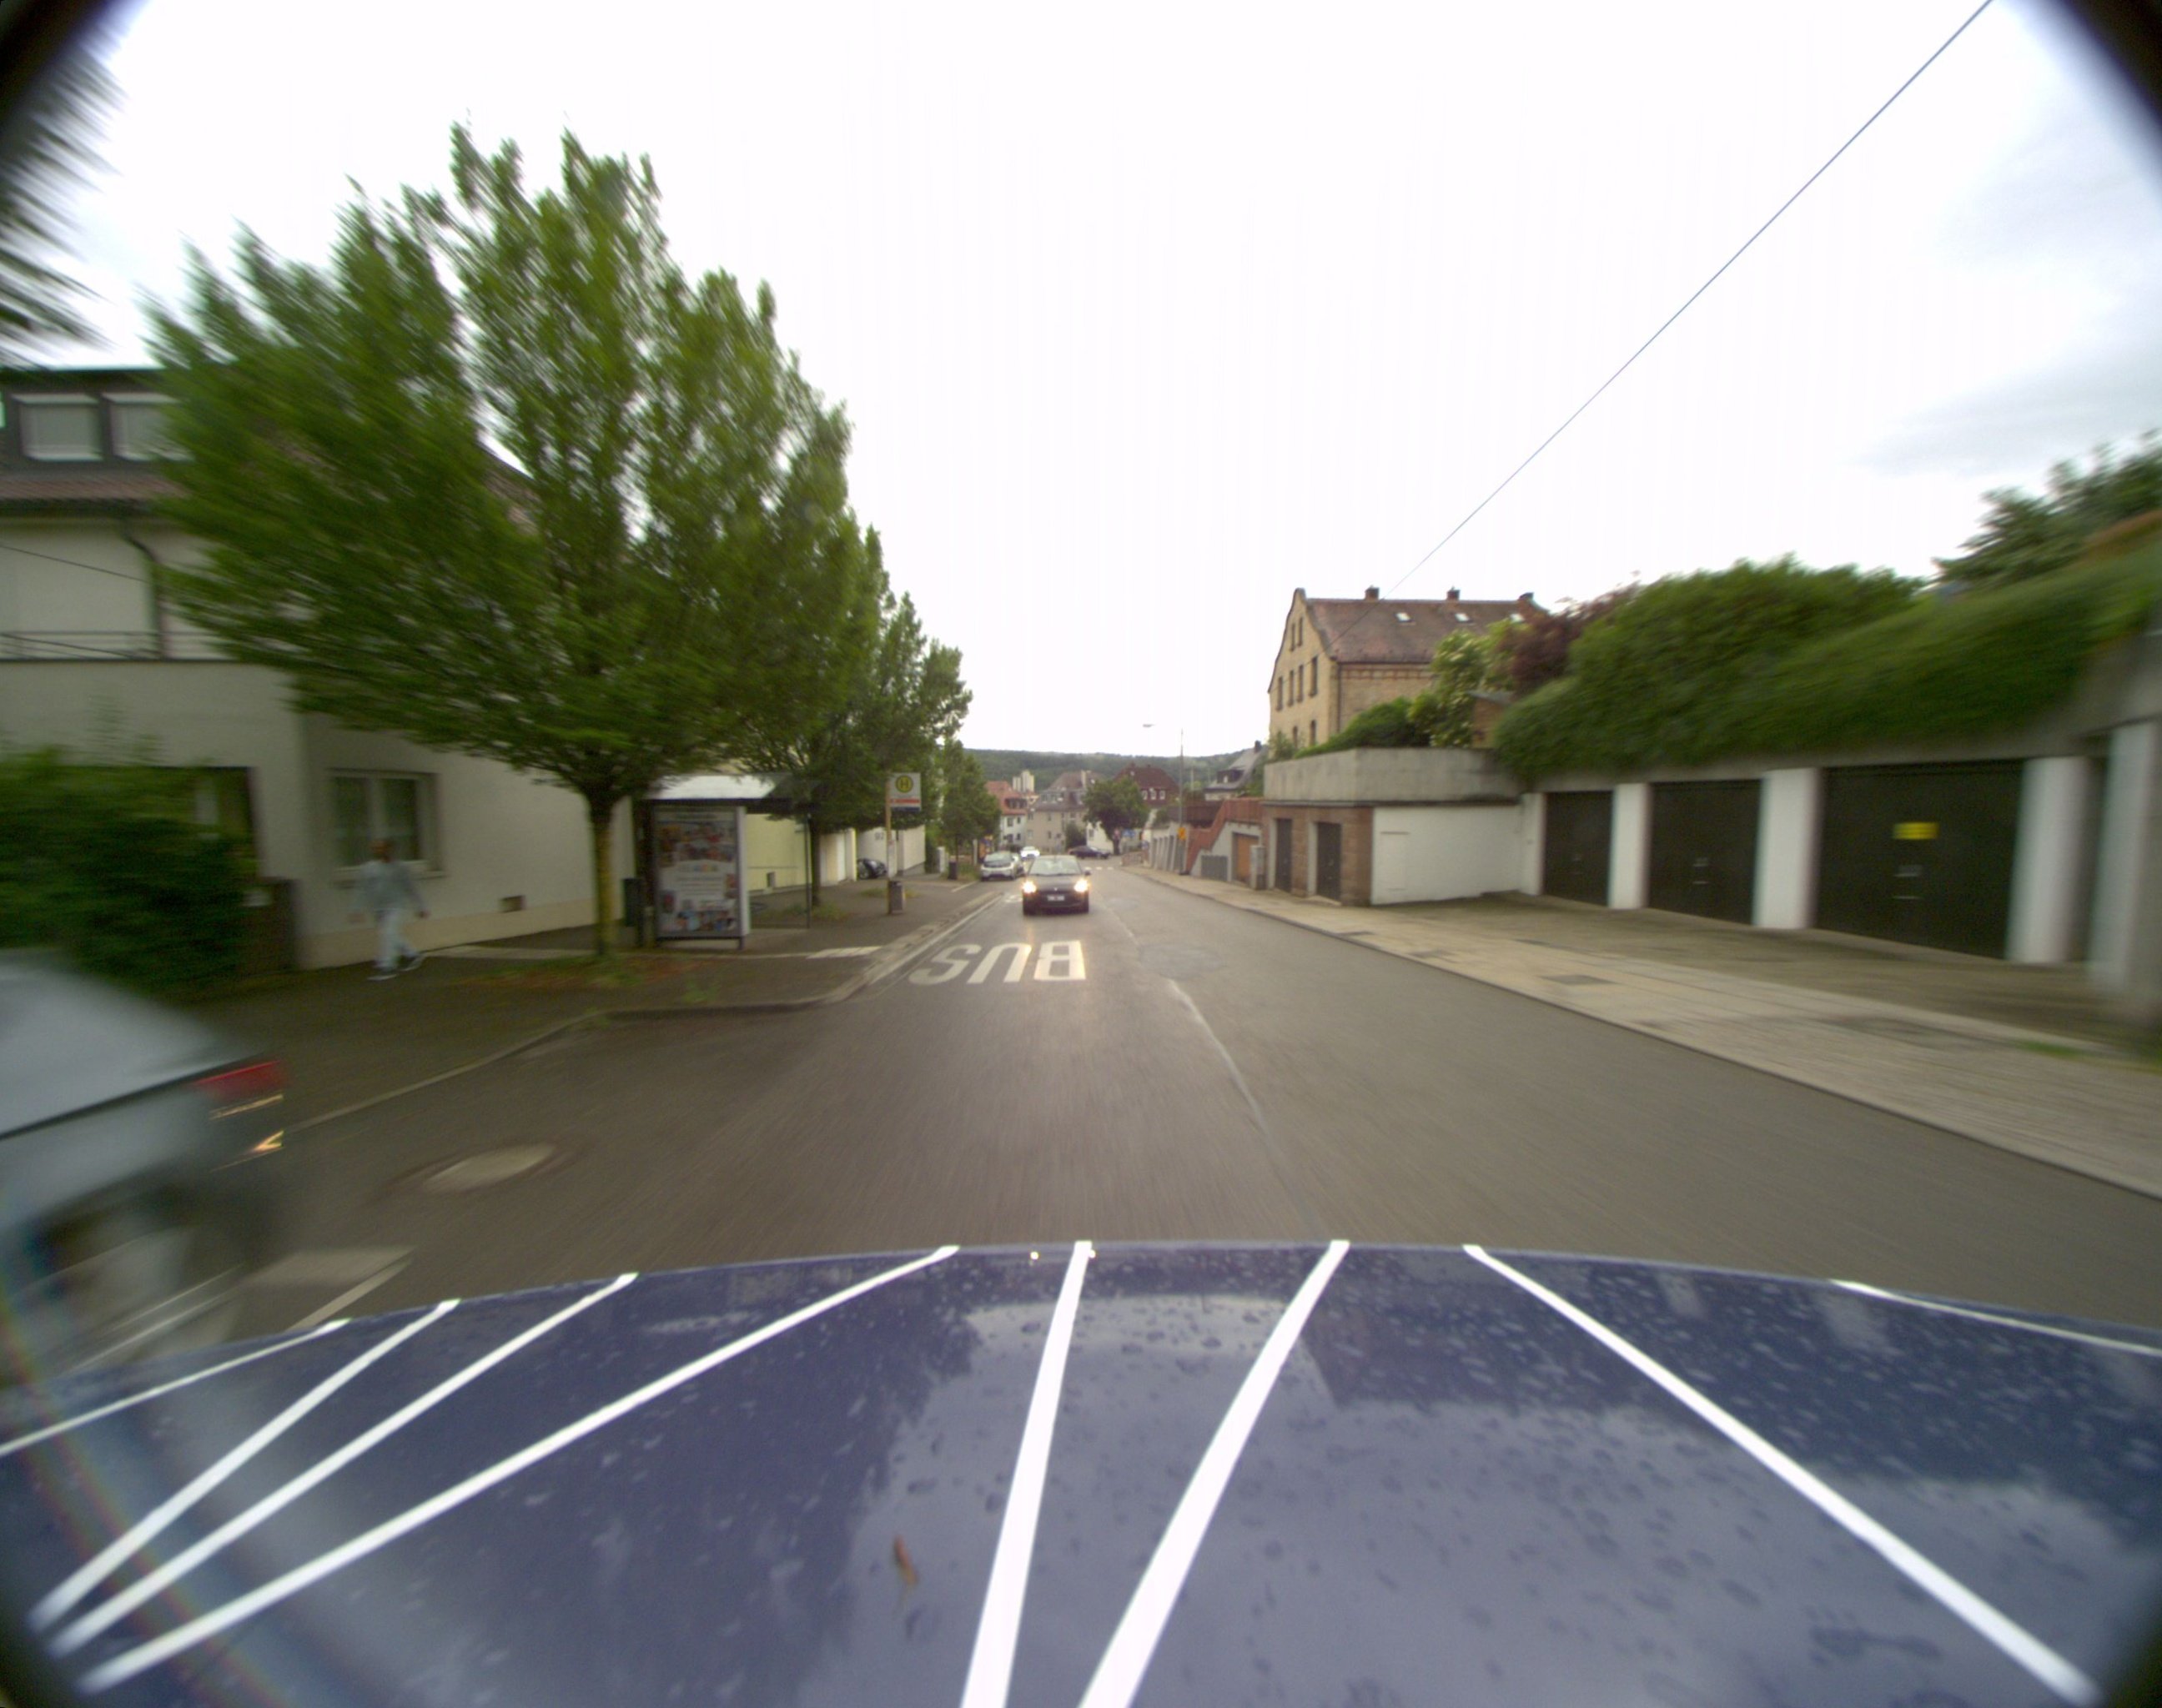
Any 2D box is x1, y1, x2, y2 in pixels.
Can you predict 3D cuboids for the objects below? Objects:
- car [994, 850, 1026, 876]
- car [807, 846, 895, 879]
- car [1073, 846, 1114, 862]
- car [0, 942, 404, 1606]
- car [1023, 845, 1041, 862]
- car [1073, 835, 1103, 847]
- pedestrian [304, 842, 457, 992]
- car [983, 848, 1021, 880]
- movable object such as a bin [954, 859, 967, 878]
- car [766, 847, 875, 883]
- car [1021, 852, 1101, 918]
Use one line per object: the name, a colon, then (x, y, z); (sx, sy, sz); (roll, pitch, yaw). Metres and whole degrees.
car: (-4.318, 0.504, 46.967); (1.784, 1.430, 4.879); (-2, 1, -4)
car: (-11.255, 0.390, 37.321); (3.710, 1.498, 1.782); (-1, 1, 0)
car: (1.370, 0.005, 82.545); (3.990, 1.576, 1.861); (-1, 1, 25)
car: (-3.494, 1.069, 0.536); (1.883, 1.408, 4.467); (-2, 1, 2)
car: (-5.792, -0.118, 89.864); (2.016, 1.892, 4.092); (-1, 1, -5)
car: (1.101, -2.062, 119.390); (4.227, 1.663, 1.874); (-2, 1, -23)
pedestrian: (-8.352, 0.712, 9.114); (0.834, 1.676, 1.044); (2, 1, 1)
car: (-4.277, 0.500, 41.643); (1.734, 1.598, 4.118); (-3, 1, -2)
movable object such as a bin: (-6.257, 0.751, 39.609); (0.486, 0.969, 0.604); (3, 1, 5)
car: (-11.840, 0.487, 34.763); (4.308, 1.471, 1.830); (-2, 0, 0)
car: (-0.530, 0.746, 20.408); (1.893, 1.521, 4.056); (-1, 1, -1)
